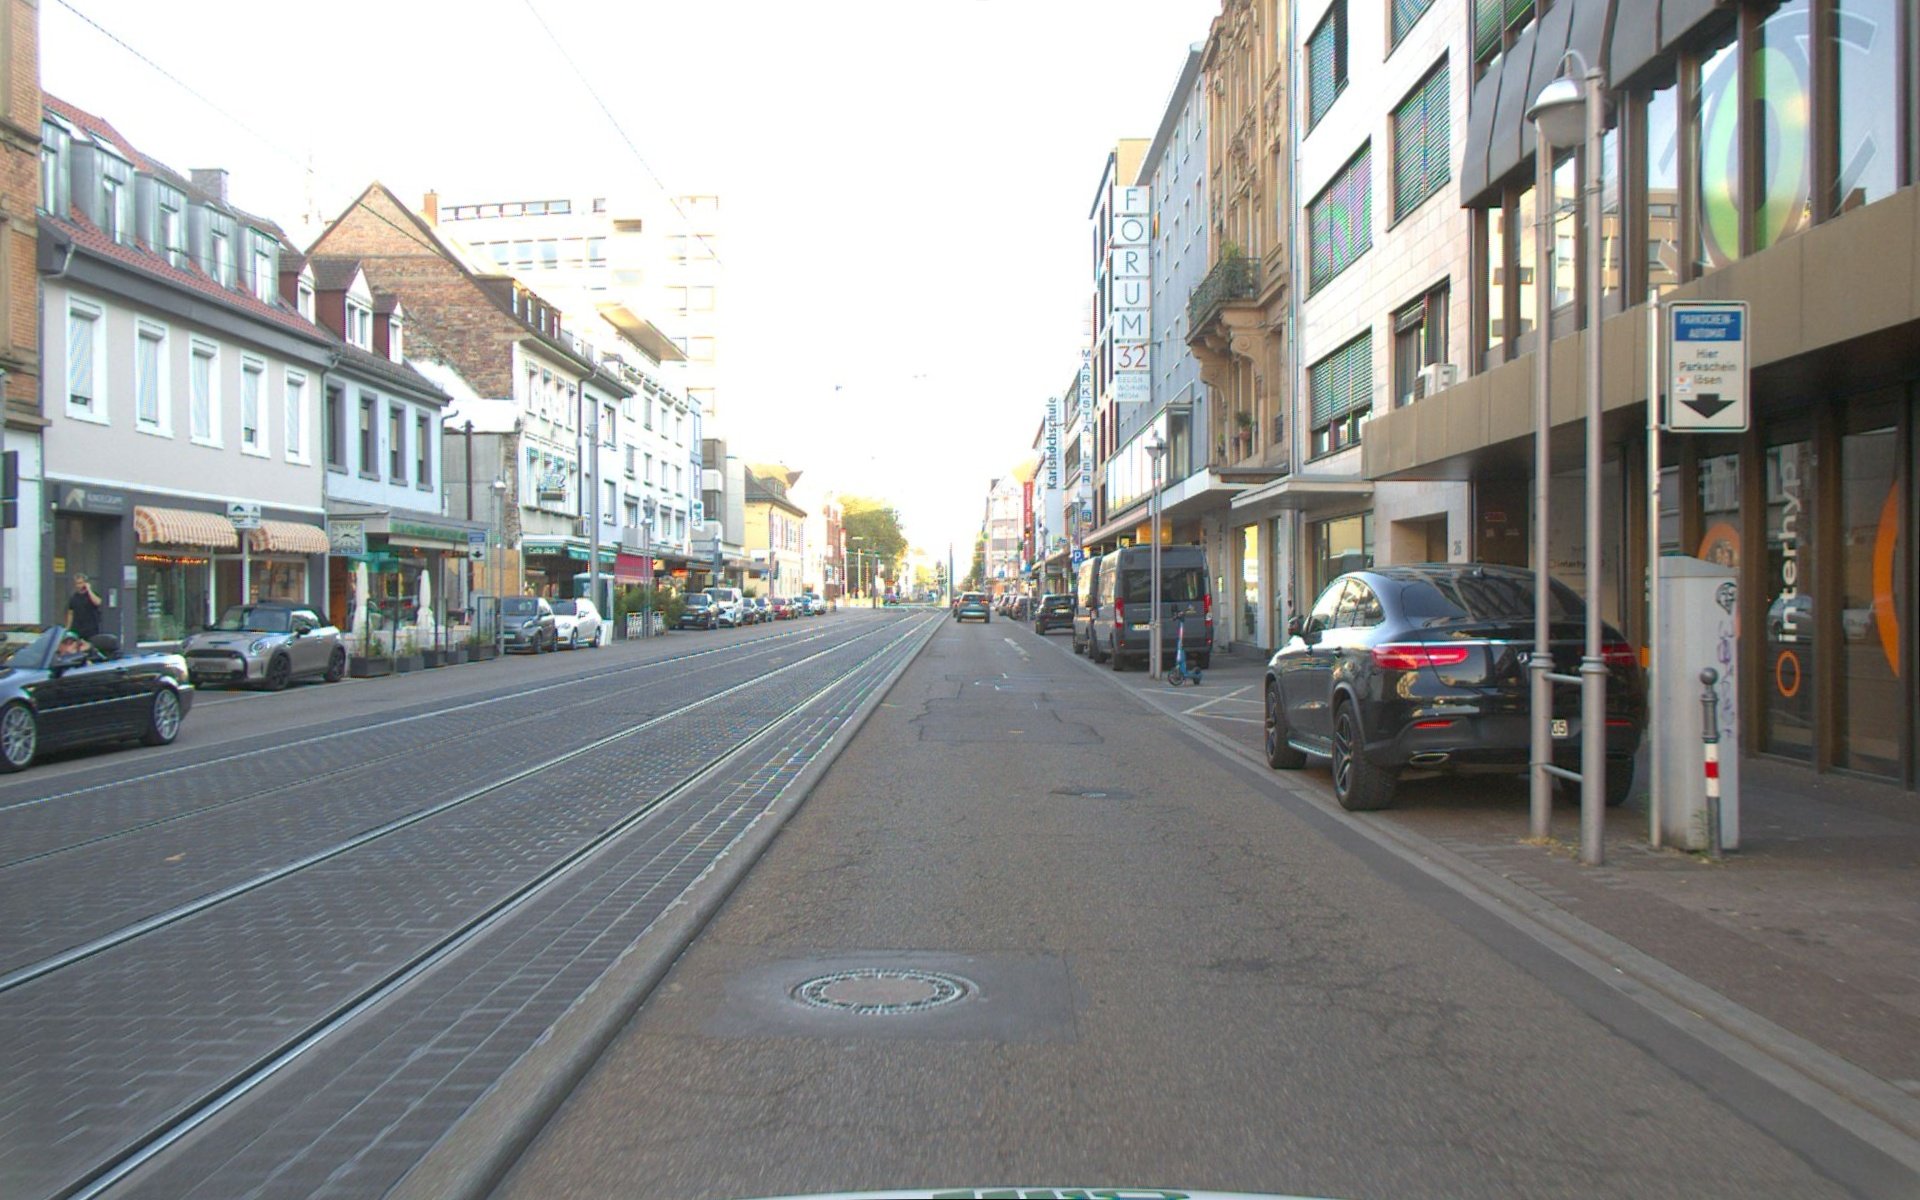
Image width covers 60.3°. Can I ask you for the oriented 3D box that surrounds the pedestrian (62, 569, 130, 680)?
[{"bbox_3d":[-14.334,0.404,27.445,0.634,1.803,0.855,1,0,1],"label":"pedestrian"}]

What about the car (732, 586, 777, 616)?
[{"bbox_3d":[-11.459,0.061,92.416,1.878,1.547,4.629,2,0,0],"label":"car"}]

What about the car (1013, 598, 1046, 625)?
[{"bbox_3d":[4.352,0.680,103.450,1.904,1.572,4.545,-2,0,1],"label":"car"}]

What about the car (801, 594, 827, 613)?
[{"bbox_3d":[-11.708,0.256,133.002,1.754,1.475,3.891,2,0,0],"label":"car"}]

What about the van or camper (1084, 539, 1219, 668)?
[{"bbox_3d":[4.060,0.065,36.113,2.144,2.468,6.132,-3,0,0],"label":"van or camper"}]

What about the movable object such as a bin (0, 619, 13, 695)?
[{"bbox_3d":[-14.985,0.878,25.278,0.578,1.151,0.729,-1,0,1],"label":"movable object such as a bin"}]

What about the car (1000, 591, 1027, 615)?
[{"bbox_3d":[4.054,0.190,124.959,1.904,1.733,4.545,-2,0,1],"label":"car"}]

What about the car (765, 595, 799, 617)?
[{"bbox_3d":[-11.653,0.369,108.318,1.754,1.362,3.891,2,0,0],"label":"car"}]

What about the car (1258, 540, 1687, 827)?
[{"bbox_3d":[3.731,0.532,13.020,1.943,1.765,4.671,-3,0,1],"label":"car"}]

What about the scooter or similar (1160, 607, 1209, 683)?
[{"bbox_3d":[3.858,0.762,28.360,0.348,1.245,1.112,-3,0,33],"label":"scooter or similar"}]

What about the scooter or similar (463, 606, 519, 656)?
[{"bbox_3d":[-11.931,0.797,42.076,1.287,1.226,0.294,2,0,1],"label":"scooter or similar"}]

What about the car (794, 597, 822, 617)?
[{"bbox_3d":[-11.649,0.531,126.977,1.754,1.475,3.891,2,0,0],"label":"car"}]

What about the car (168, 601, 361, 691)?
[{"bbox_3d":[-12.205,0.758,29.291,1.698,1.414,3.865,2,0,1],"label":"car"}]

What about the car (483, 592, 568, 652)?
[{"bbox_3d":[-11.869,0.587,45.347,1.559,1.531,2.812,2,0,0],"label":"car"}]

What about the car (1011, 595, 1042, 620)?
[{"bbox_3d":[4.349,0.481,109.279,1.904,1.572,4.545,-2,0,1],"label":"car"}]

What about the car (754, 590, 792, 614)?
[{"bbox_3d":[-11.137,0.101,98.711,1.754,1.362,3.891,2,0,0],"label":"car"}]

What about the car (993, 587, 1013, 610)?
[{"bbox_3d":[4.235,-0.169,163.455,1.904,2.183,4.545,-2,0,1],"label":"car"}]

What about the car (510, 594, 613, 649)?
[{"bbox_3d":[-11.940,0.612,49.868,1.811,1.531,4.842,2,0,1],"label":"car"}]

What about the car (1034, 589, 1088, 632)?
[{"bbox_3d":[3.963,0.383,65.411,1.904,1.572,4.545,-2,0,1],"label":"car"}]

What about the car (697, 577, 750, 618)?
[{"bbox_3d":[-12.027,-0.141,84.475,1.878,1.969,4.842,2,0,1],"label":"car"}]

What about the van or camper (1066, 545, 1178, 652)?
[{"bbox_3d":[4.085,-0.037,42.580,2.144,2.468,5.516,-3,0,-1],"label":"van or camper"}]

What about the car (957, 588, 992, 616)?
[{"bbox_3d":[0.842,0.096,93.430,1.903,1.572,4.545,0,0,1],"label":"car"}]

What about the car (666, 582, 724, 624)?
[{"bbox_3d":[-12.248,0.132,76.681,1.878,1.794,4.430,2,0,1],"label":"car"}]

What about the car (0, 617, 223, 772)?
[{"bbox_3d":[-8.906,0.855,15.942,1.633,1.249,4.273,-3,0,0],"label":"car"}]

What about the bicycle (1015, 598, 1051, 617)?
[{"bbox_3d":[4.392,0.457,99.739,2.076,1.109,0.591,-1,0,-2],"label":"bicycle"}]
